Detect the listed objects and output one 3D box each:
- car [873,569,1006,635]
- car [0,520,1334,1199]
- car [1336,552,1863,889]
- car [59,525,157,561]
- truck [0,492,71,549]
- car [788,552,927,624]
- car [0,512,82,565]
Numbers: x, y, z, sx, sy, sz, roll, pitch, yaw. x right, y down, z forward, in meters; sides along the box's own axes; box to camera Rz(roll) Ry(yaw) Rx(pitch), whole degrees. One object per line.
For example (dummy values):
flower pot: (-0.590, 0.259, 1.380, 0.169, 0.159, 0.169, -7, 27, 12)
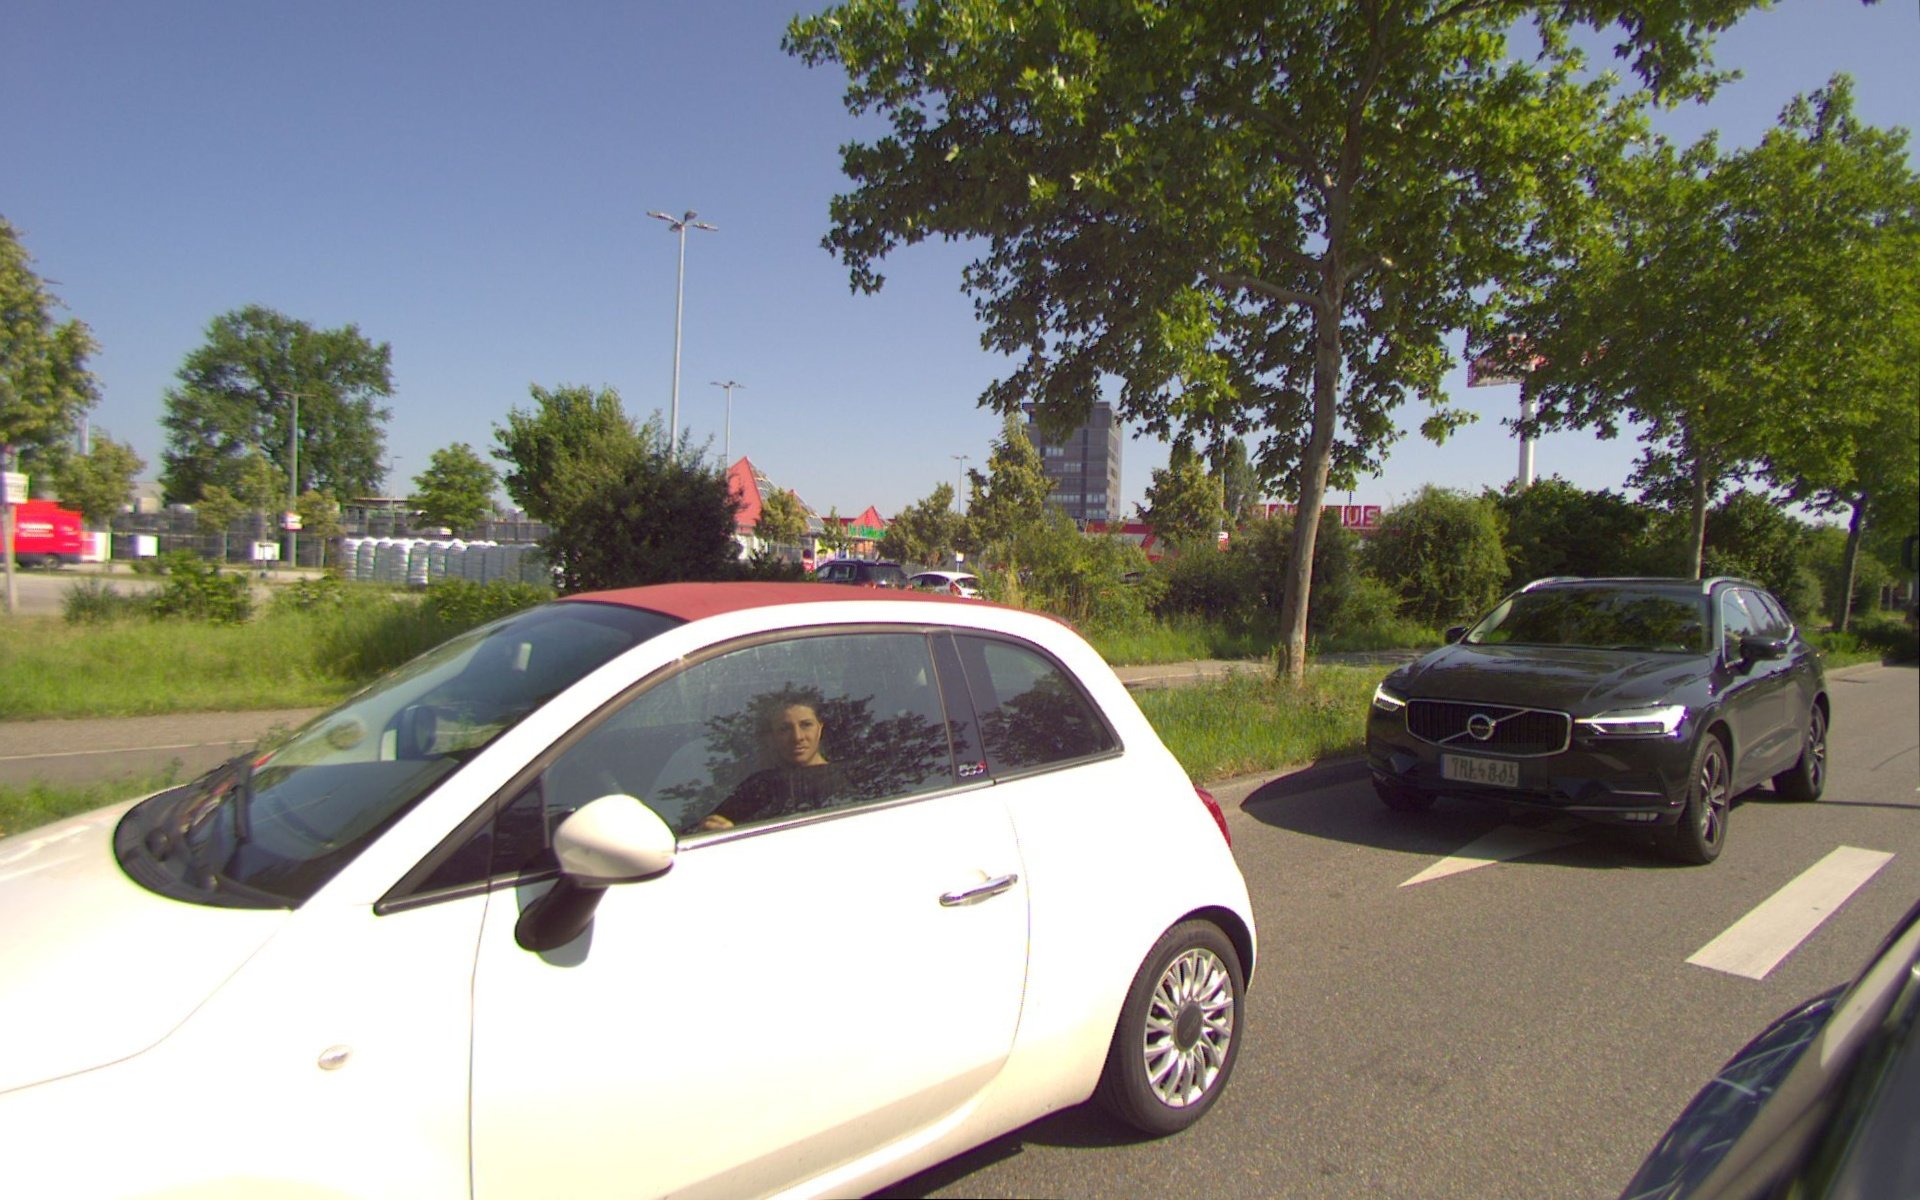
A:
car: (-0.613, 0.012, 27.925, 3.549, 1.717, 1.692, 1, 1, 45)
car: (-0.750, 0.610, 2.592, 3.456, 1.454, 1.665, 0, 1, -39)
car: (4.701, 0.556, 7.141, 4.485, 1.642, 1.923, 0, 1, -41)
car: (-52.989, -3.514, 63.016, 1.971, 2.039, 4.370, 1, 1, 15)
truck: (-58.146, -4.801, 60.248, 1.971, 3.289, 8.189, 1, 1, 15)
car: (-2.677, -0.313, 25.980, 3.549, 1.717, 1.692, 1, 1, 45)
car: (-45.411, -2.908, 47.677, 2.087, 2.370, 5.903, 1, 1, 18)
